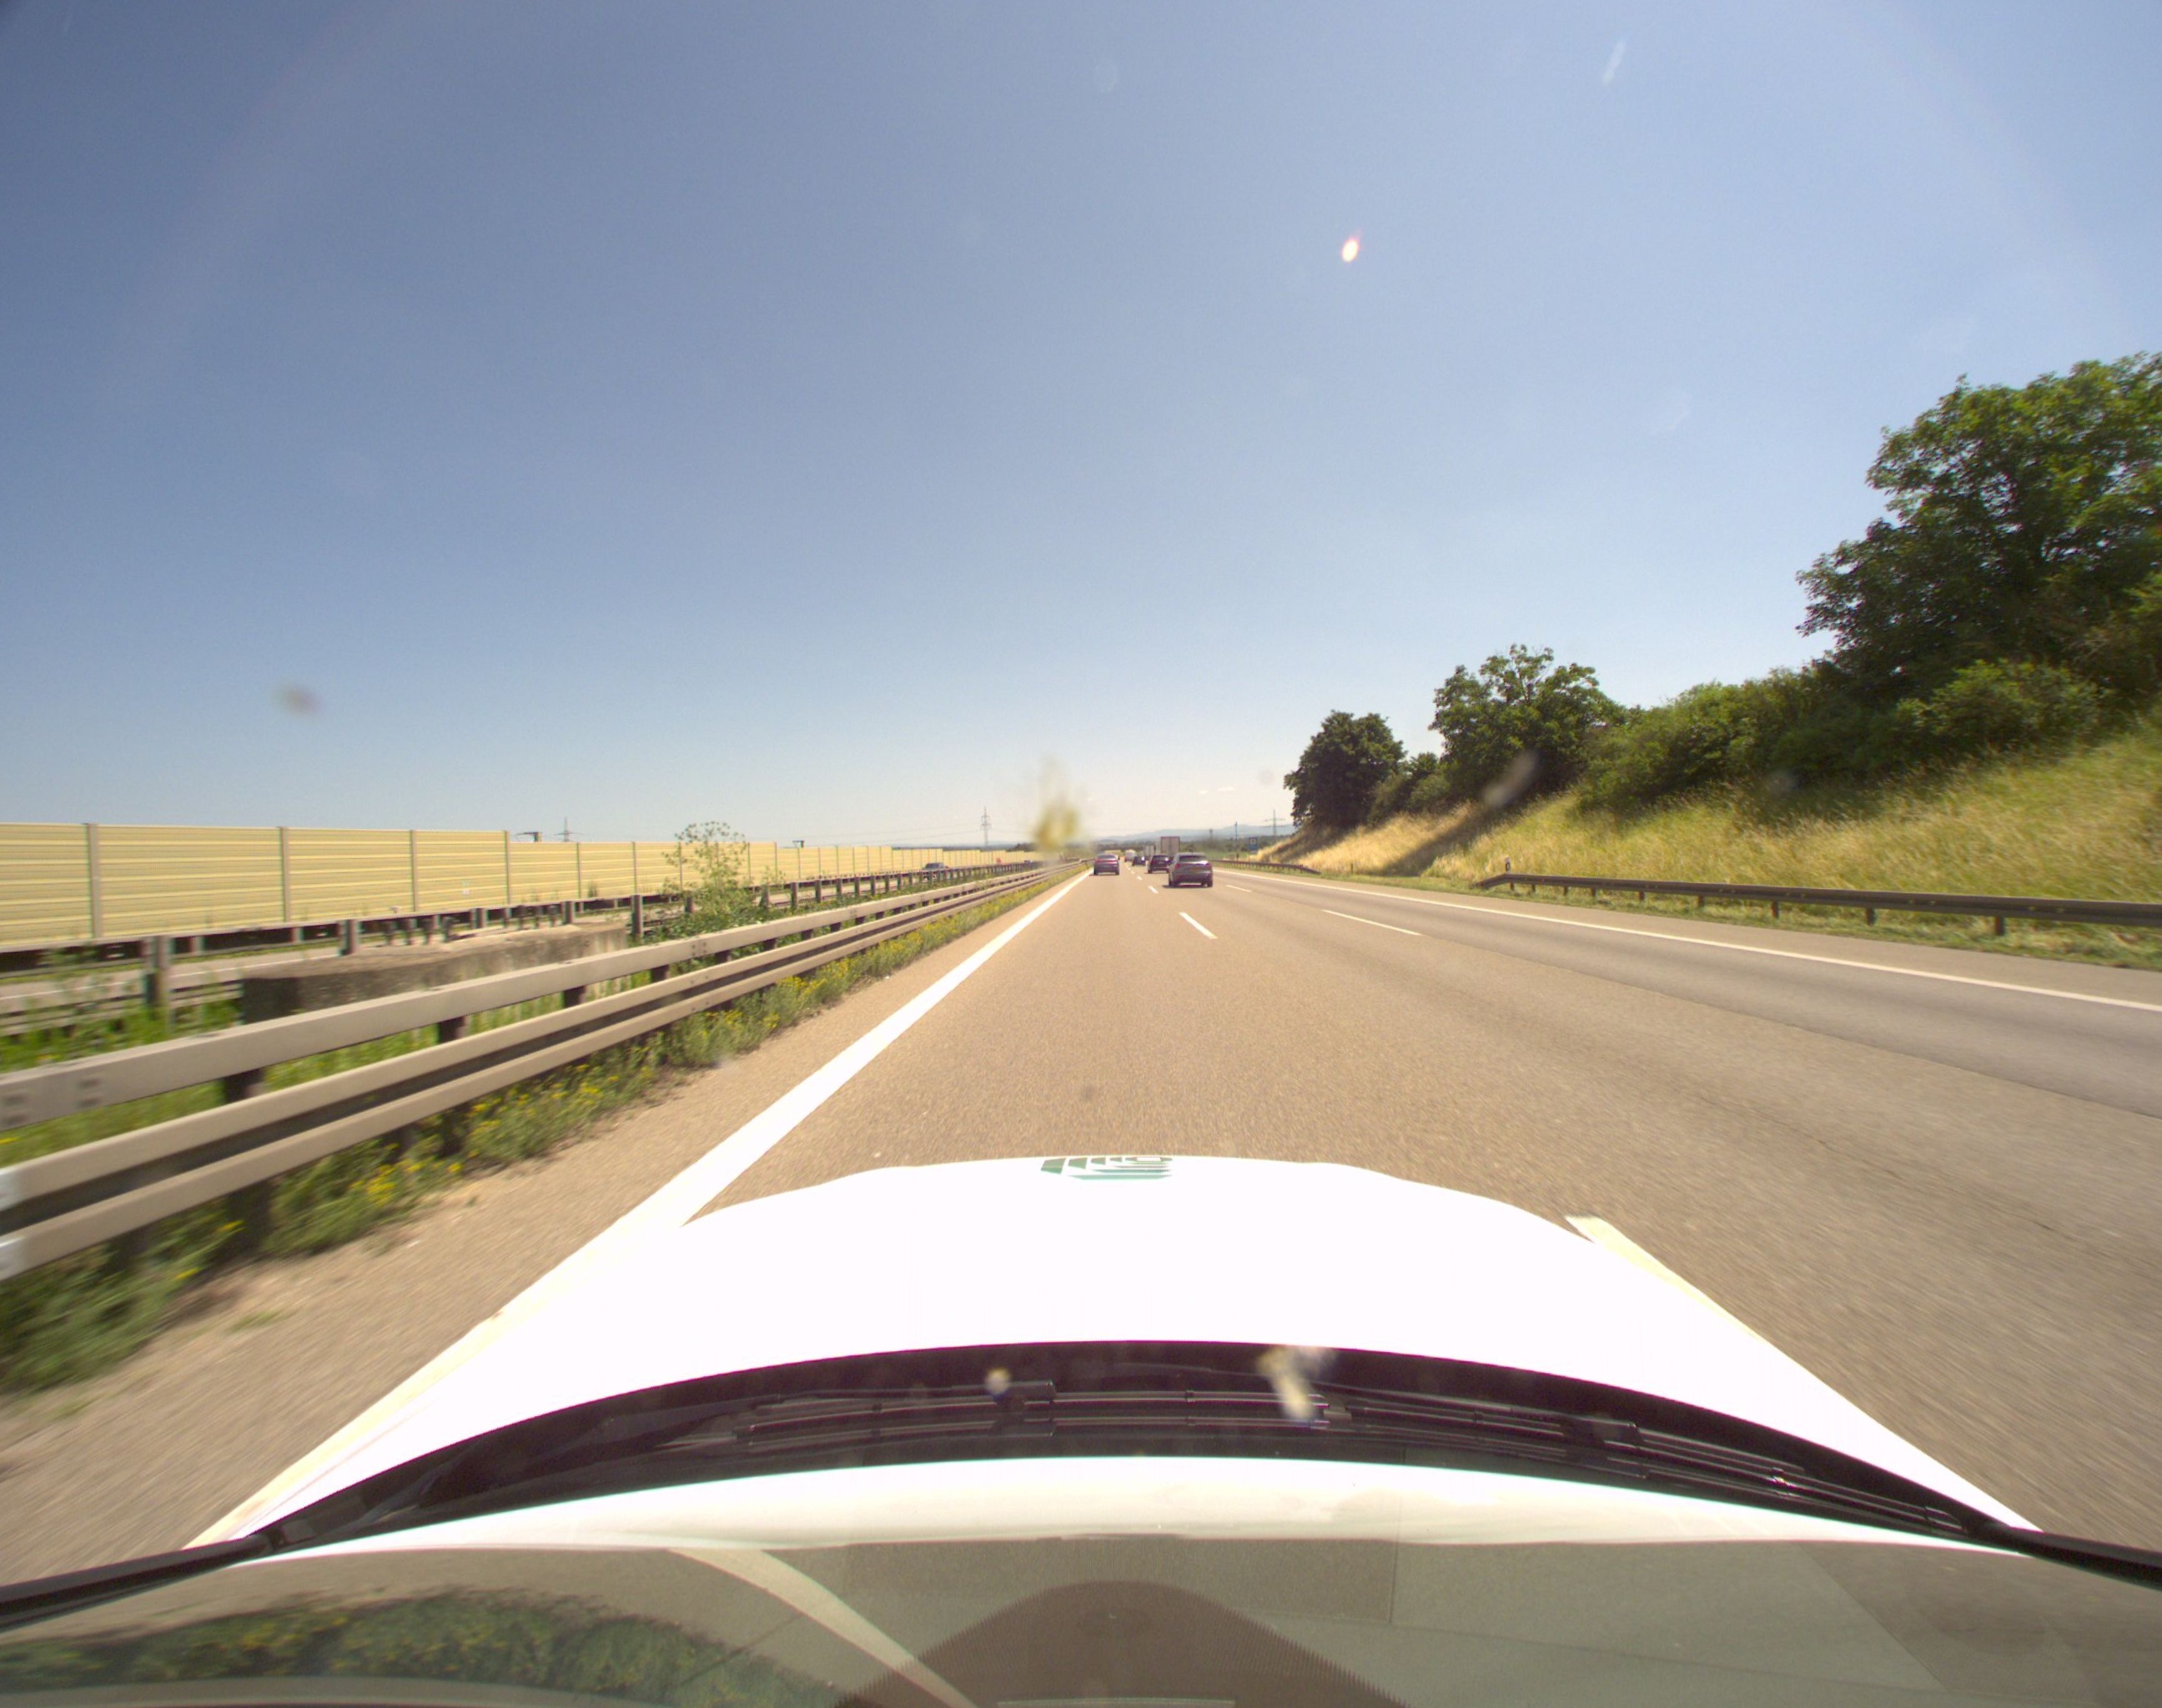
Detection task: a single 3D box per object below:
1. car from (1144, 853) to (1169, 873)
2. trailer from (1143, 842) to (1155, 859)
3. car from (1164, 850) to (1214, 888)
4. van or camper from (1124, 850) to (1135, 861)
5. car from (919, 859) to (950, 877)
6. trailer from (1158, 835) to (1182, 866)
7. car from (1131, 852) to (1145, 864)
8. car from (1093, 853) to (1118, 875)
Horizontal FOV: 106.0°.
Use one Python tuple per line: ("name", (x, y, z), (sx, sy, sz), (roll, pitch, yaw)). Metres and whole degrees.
("car", (6.153, 0.720, 66.985), (1.790, 1.562, 3.824), (0, -1, 1))
("trailer", (17.420, -0.829, 209.246), (2.929, 4.198, 13.612), (0, -1, 4))
("car", (5.032, 0.683, 38.343), (1.844, 1.648, 4.646), (0, 0, 1))
("van or camper", (10.201, 0.283, 171.076), (2.101, 2.211, 5.271), (0, -1, 4))
("car", (-14.128, 1.316, 78.820), (1.889, 1.570, 5.249), (-3, 0, 2))
("trailer", (12.782, -0.441, 117.727), (2.855, 4.220, 13.307), (0, -1, 4))
("car", (7.762, 0.574, 110.931), (1.925, 1.574, 4.939), (0, -1, 4))
("car", (1.878, 0.767, 63.166), (1.844, 1.664, 3.736), (0, -1, 1))
